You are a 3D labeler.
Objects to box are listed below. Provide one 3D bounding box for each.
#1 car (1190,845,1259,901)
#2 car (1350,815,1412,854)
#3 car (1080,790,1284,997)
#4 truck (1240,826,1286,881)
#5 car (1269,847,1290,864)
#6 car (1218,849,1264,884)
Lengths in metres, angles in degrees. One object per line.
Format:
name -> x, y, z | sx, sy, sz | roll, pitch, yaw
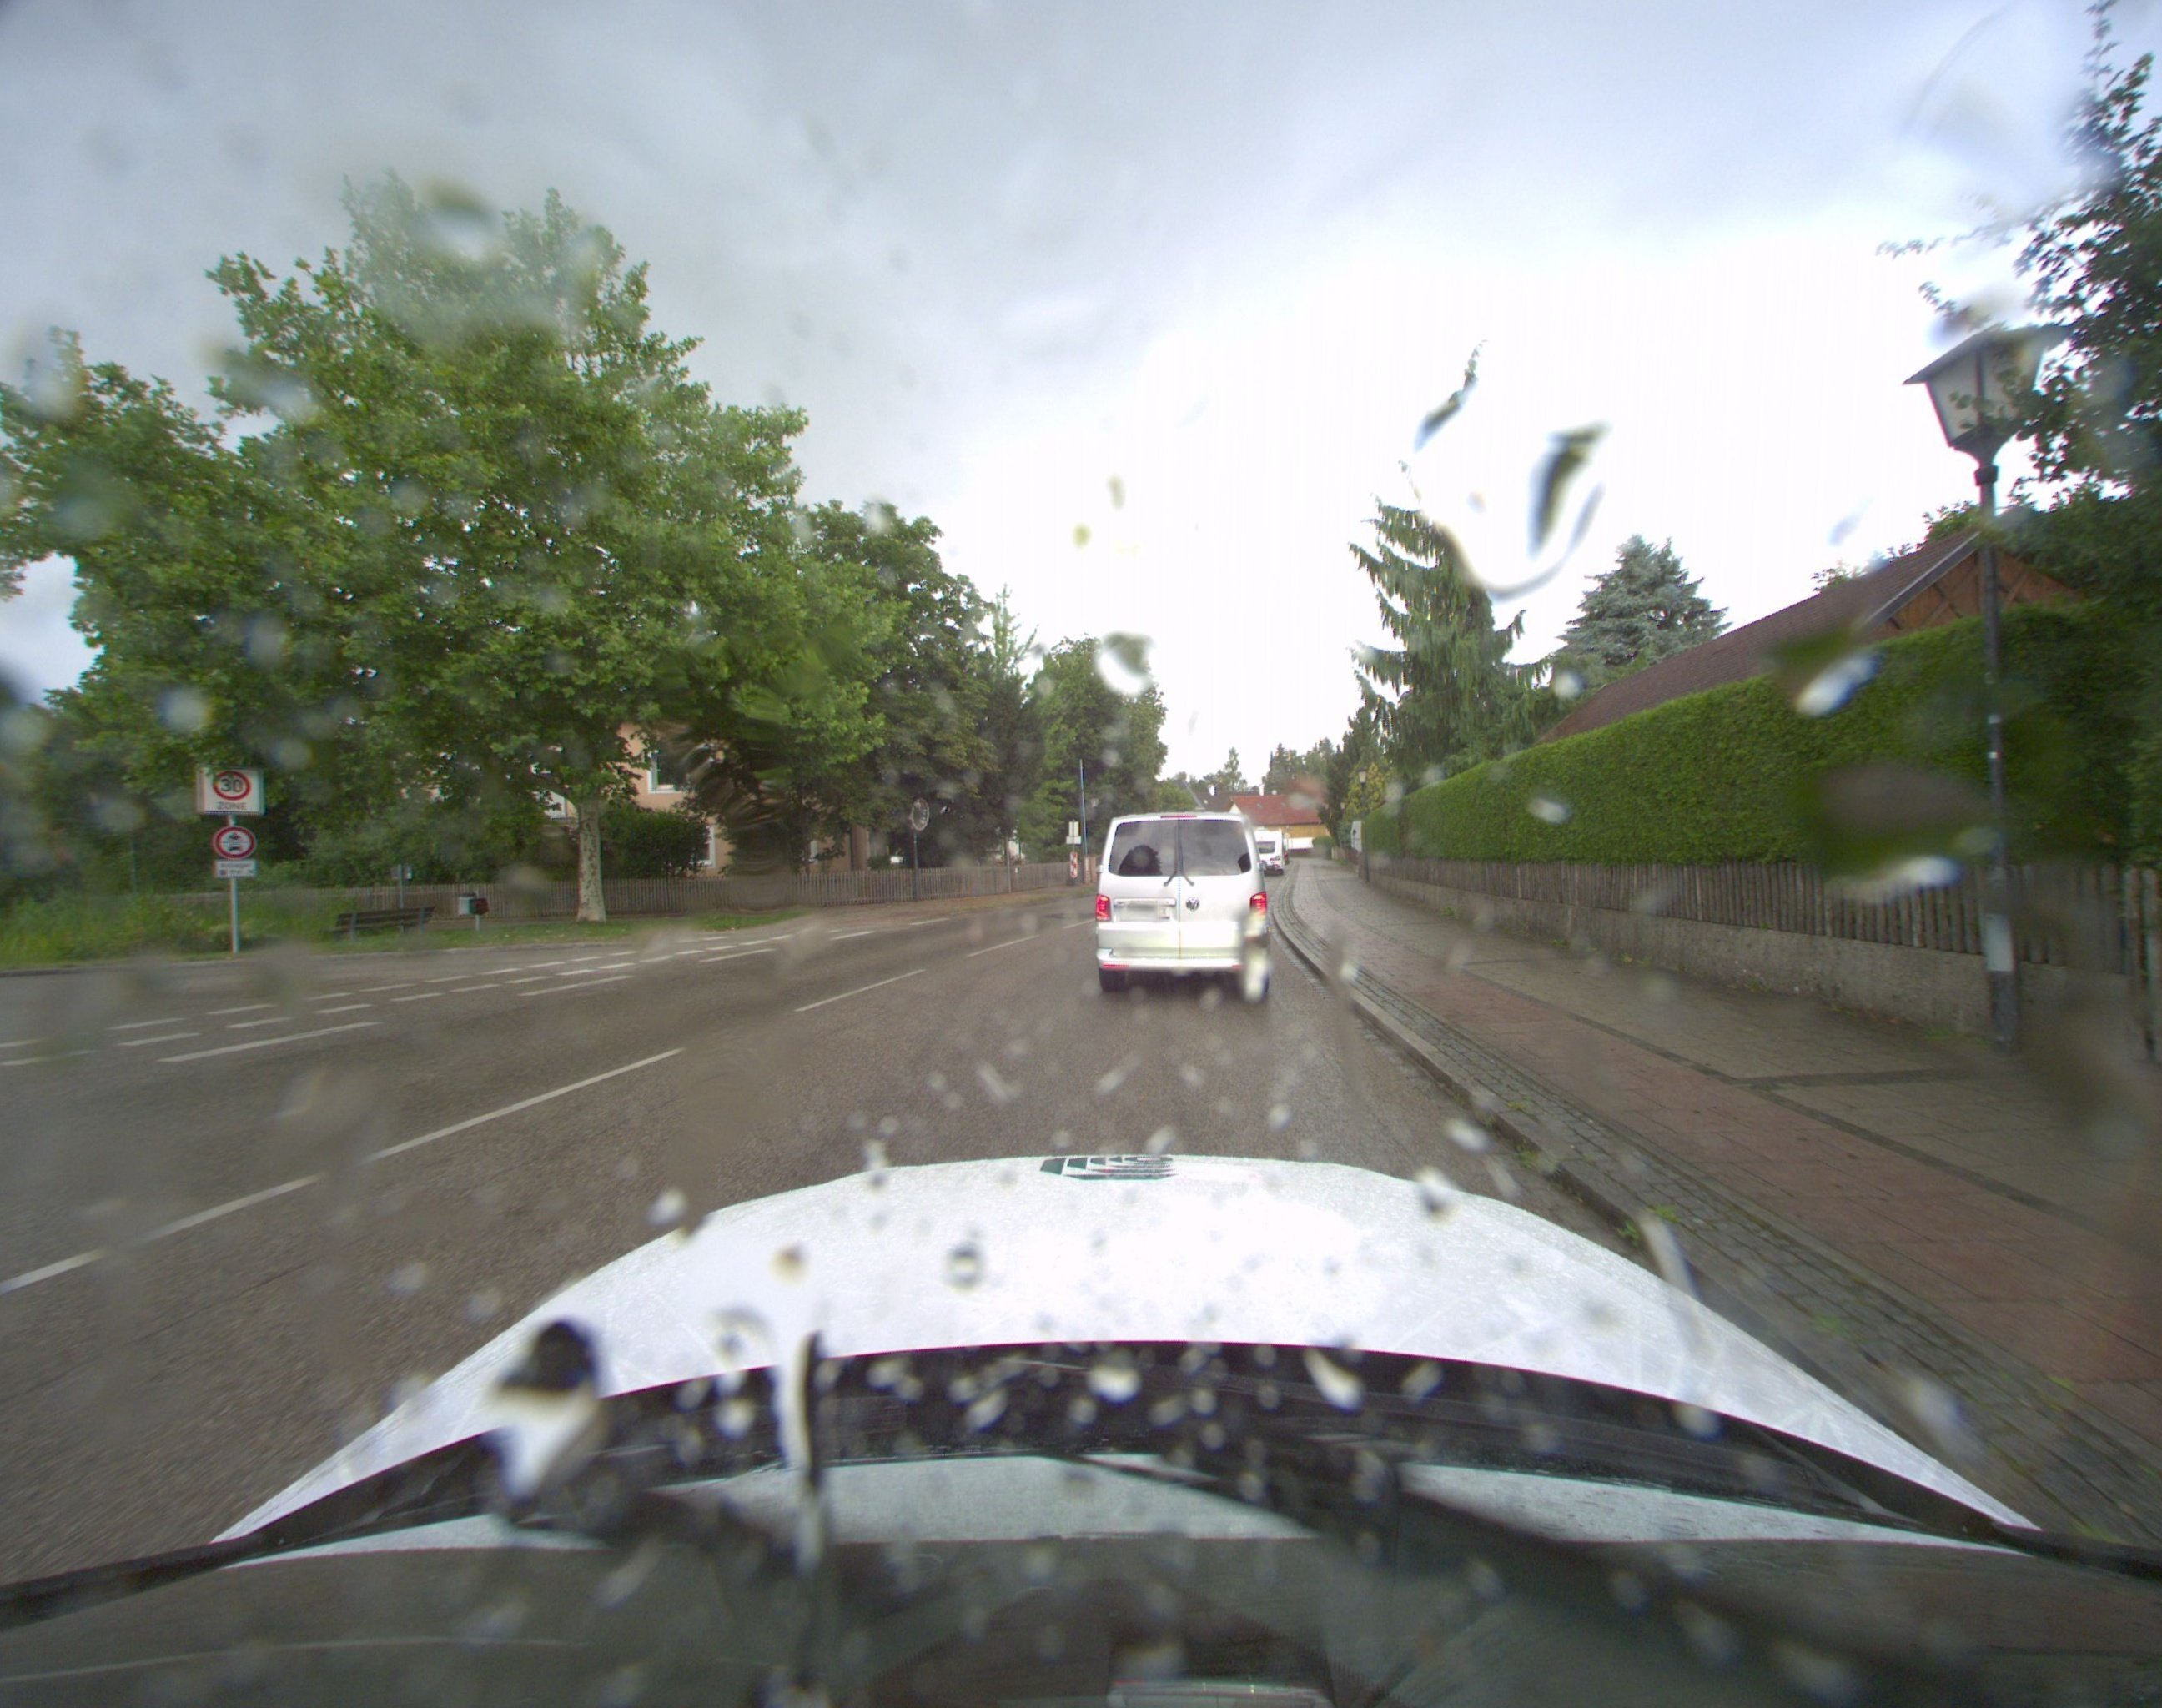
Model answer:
car -> 4.532, 0.570, 25.308 | 1.787, 1.588, 4.016 | -1, -1, 15
car -> 17.593, -1.092, 48.035 | 1.986, 2.173, 4.955 | 0, -1, 2
car -> 1.455, 0.401, 10.092 | 1.786, 2.014, 4.018 | -1, -1, 17
truck -> 10.952, 0.005, 48.601 | 2.457, 3.074, 6.320 | -1, -1, 15
car -> 18.378, 0.136, 75.421 | 1.787, 1.508, 4.016 | -1, -1, 15
car -> 7.326, 0.547, 37.091 | 1.787, 1.508, 4.016 | -1, -1, 15
